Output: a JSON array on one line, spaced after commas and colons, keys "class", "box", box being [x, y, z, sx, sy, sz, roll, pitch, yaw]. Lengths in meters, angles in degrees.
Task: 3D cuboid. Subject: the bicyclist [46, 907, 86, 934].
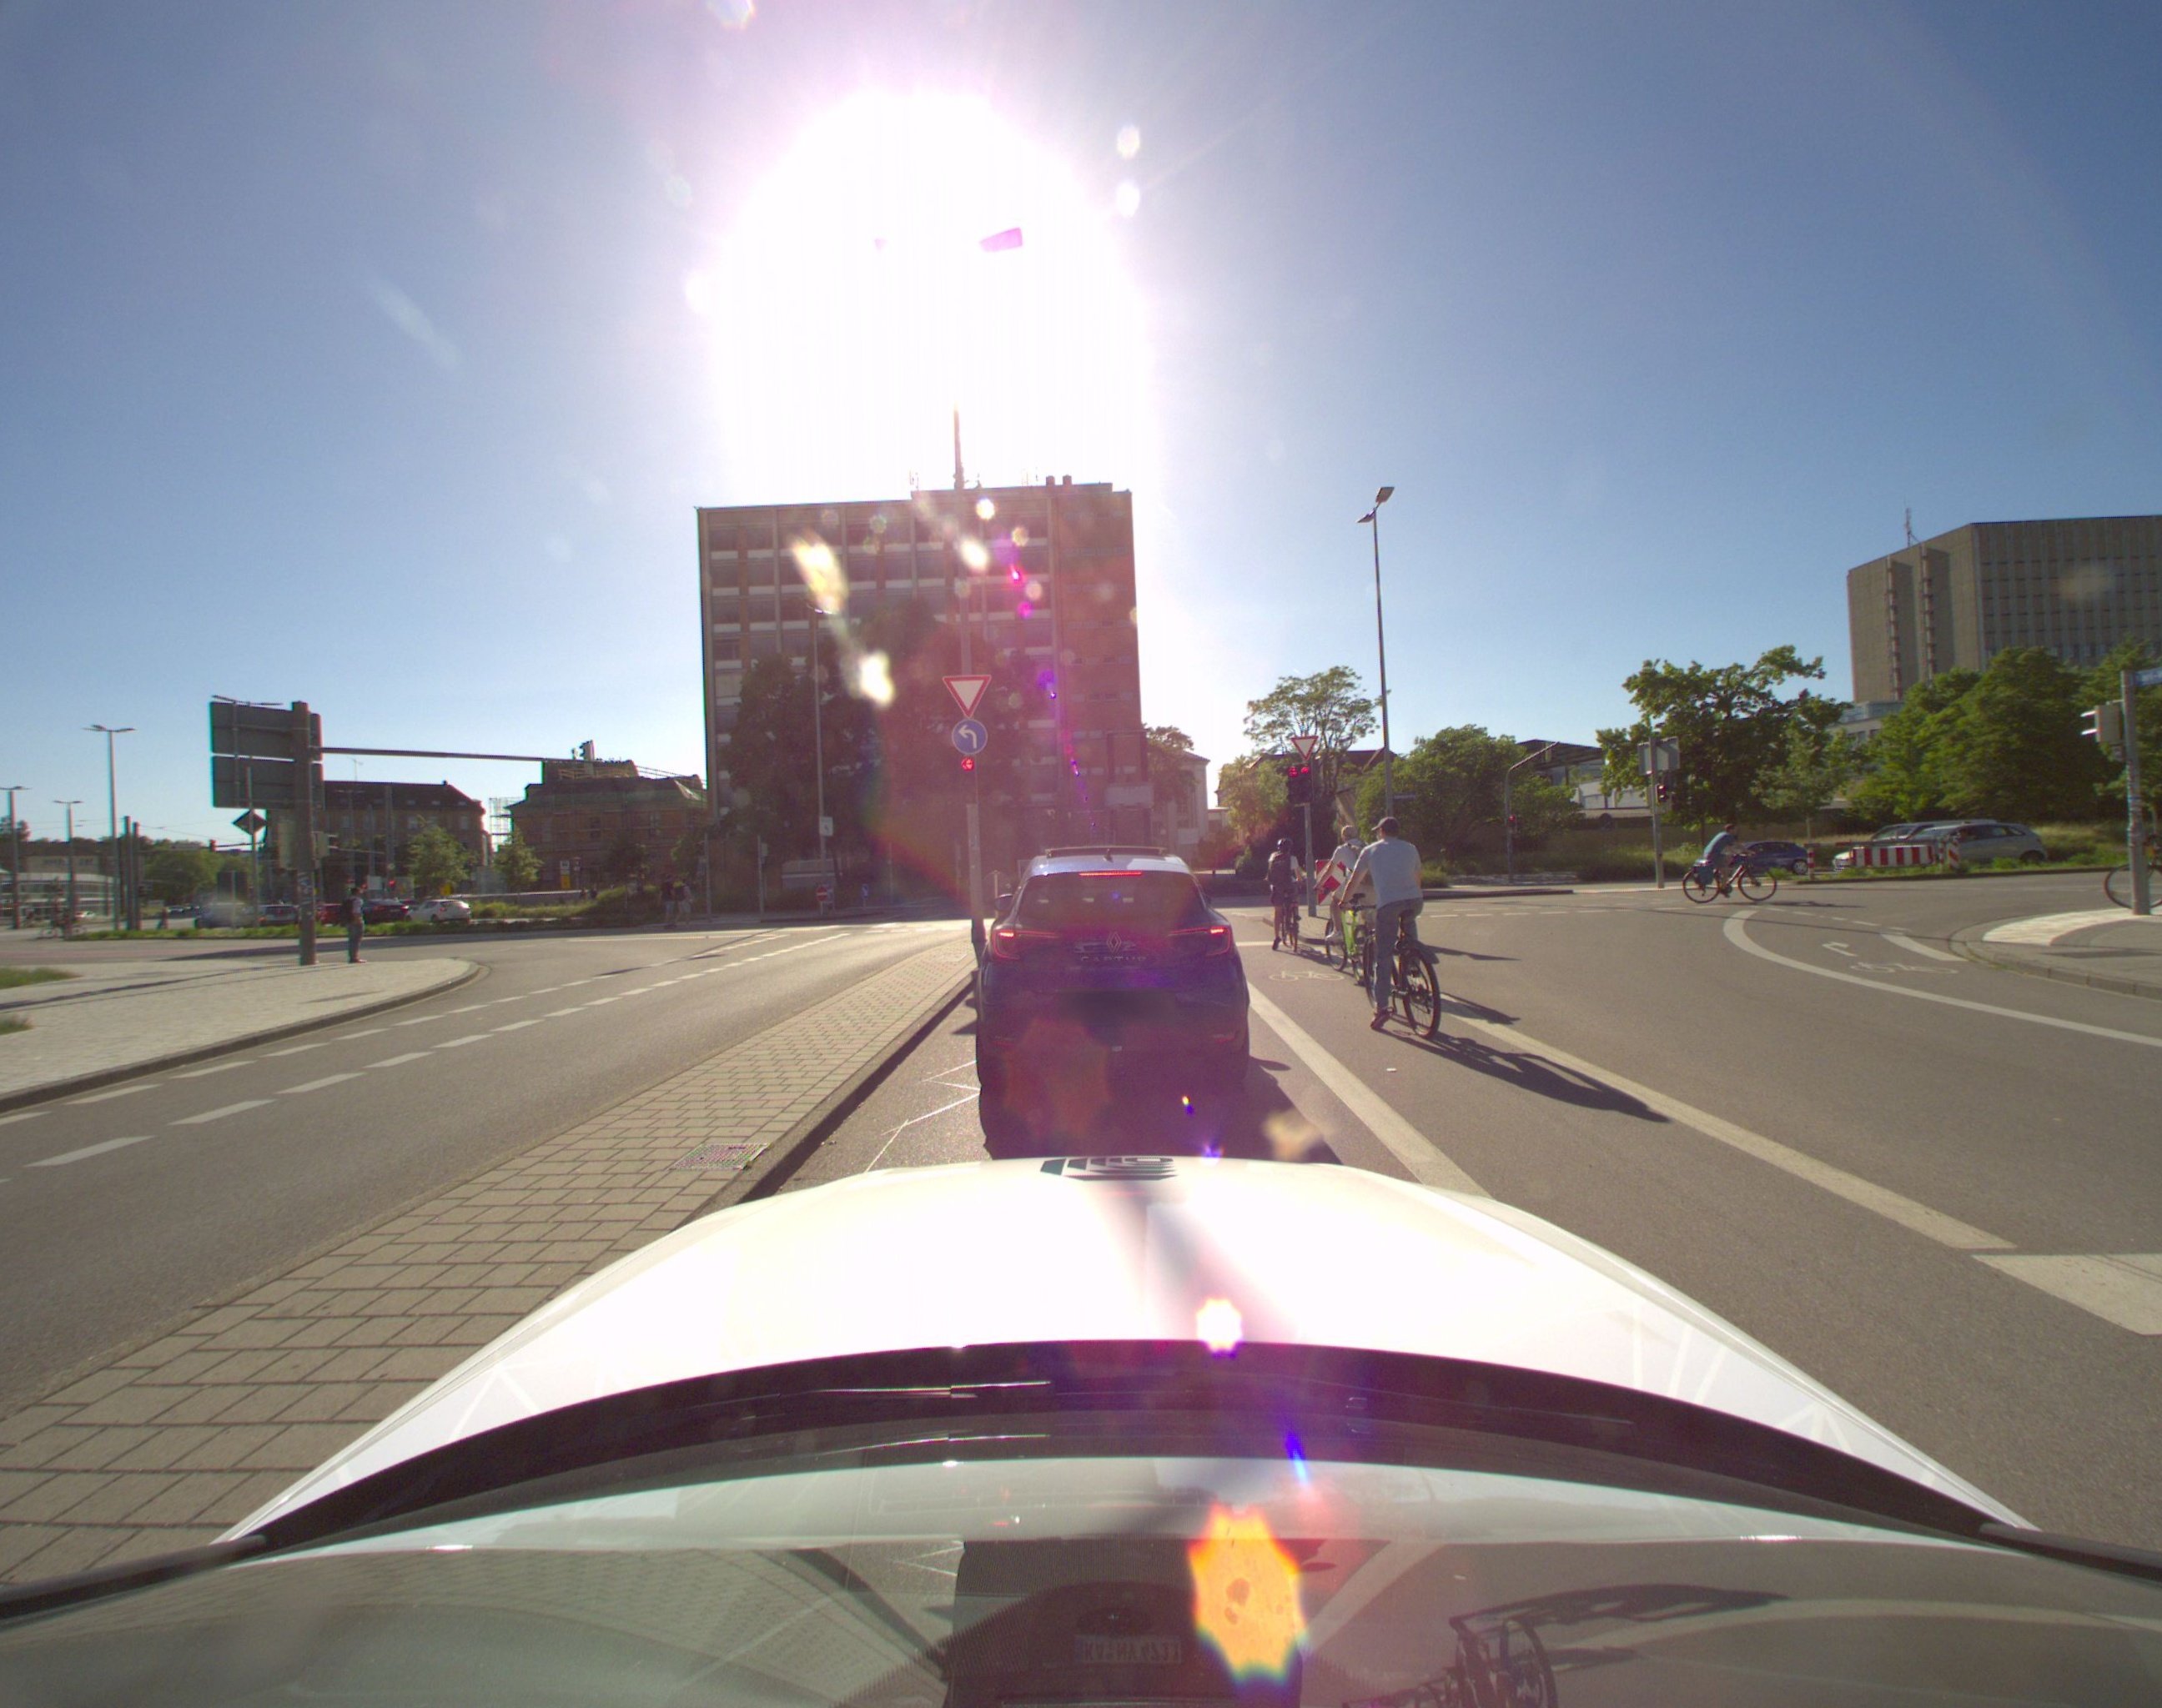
[{"class": "bicyclist", "box": [-65.662, 4.302, 52.683, 0.800, 1.634, 1.586, -1, -1, 38]}]

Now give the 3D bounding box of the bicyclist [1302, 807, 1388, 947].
[{"class": "bicyclist", "box": [3.172, 0.266, 9.880, 0.676, 1.594, 1.142, -1, -1, 2]}]

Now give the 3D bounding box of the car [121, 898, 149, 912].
[{"class": "car", "box": [-153.040, 8.293, 131.768, 2.008, 2.014, 3.956, 0, -1, -35]}]

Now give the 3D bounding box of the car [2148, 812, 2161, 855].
[{"class": "car", "box": [36.893, -0.763, 25.335, 4.534, 1.398, 1.798, -3, -1, 7]}]

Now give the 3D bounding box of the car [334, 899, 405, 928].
[{"class": "car", "box": [-42.571, 3.564, 48.718, 3.834, 1.508, 1.805, -3, -1, 25]}]

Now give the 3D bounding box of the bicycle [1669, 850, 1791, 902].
[{"class": "bicycle", "box": [13.530, 0.455, 17.020, 1.887, 0.973, 0.651, -4, -1, 9]}]

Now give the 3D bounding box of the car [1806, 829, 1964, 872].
[{"class": "car", "box": [30.288, -0.136, 30.797, 3.965, 1.398, 1.798, -3, -1, 7]}]

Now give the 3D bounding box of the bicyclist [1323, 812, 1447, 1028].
[{"class": "bicyclist", "box": [2.709, 0.554, 7.366, 0.680, 1.791, 1.142, -1, -1, 2]}]

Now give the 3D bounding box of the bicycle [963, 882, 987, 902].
[{"class": "bicycle", "box": [-5.736, 2.044, 44.174, 0.751, 0.985, 2.098, -2, 0, 8]}]

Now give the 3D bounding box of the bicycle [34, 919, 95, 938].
[{"class": "bicycle", "box": [-65.667, 4.802, 52.651, 0.800, 1.062, 2.434, -1, -1, 39]}]

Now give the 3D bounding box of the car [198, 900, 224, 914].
[{"class": "car", "box": [-142.290, 8.620, 133.230, 1.797, 2.013, 3.963, -2, -1, -29]}]

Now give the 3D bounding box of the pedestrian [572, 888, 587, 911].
[{"class": "pedestrian", "box": [-39.236, 3.558, 63.696, 0.678, 1.730, 0.761, -2, -1, -1]}]

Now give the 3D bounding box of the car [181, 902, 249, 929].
[{"class": "car", "box": [-54.922, 3.892, 51.638, 3.834, 1.508, 1.805, -3, -1, 25]}]

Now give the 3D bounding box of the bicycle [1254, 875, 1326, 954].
[{"class": "bicycle", "box": [3.253, 0.910, 12.846, 0.687, 1.089, 1.923, -1, 0, 2]}]

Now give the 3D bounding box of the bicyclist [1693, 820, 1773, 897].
[{"class": "bicyclist", "box": [13.608, 0.101, 17.011, 1.045, 1.513, 0.643, -4, -1, 9]}]

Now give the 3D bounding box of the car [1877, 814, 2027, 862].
[{"class": "car", "box": [35.862, -0.618, 33.611, 3.965, 1.749, 1.798, -3, -1, 7]}]

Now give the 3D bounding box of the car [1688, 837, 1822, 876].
[{"class": "car", "box": [28.127, 0.106, 34.110, 3.965, 1.398, 1.798, -3, -1, 7]}]

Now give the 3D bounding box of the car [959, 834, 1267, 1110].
[{"class": "car", "box": [0.190, 0.705, 6.769, 1.783, 1.585, 3.913, -1, 0, 0]}]

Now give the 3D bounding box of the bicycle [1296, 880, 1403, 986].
[{"class": "bicycle", "box": [3.183, 0.890, 9.855, 0.687, 1.089, 1.923, -1, 0, 2]}]

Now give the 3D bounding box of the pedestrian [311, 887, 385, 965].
[{"class": "pedestrian", "box": [-17.237, 1.672, 19.163, 0.647, 1.730, 1.066, -3, -1, 15]}]

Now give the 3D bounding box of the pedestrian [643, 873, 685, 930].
[{"class": "pedestrian", "box": [-14.221, 1.616, 27.820, 0.807, 1.862, 0.913, -3, -1, 15]}]

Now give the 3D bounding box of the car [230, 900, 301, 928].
[{"class": "car", "box": [-48.873, 3.604, 48.806, 3.834, 1.508, 1.805, -3, -1, 25]}]

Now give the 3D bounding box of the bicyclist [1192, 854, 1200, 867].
[{"class": "bicyclist", "box": [12.837, 0.742, 90.681, 0.692, 1.481, 0.717, -2, -1, 0]}]

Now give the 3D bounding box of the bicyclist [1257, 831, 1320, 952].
[{"class": "bicyclist", "box": [3.222, 0.559, 12.737, 0.697, 1.791, 1.142, -1, -1, 2]}]

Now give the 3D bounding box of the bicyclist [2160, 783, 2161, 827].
[{"class": "bicyclist", "box": [16.019, -0.225, 11.476, 0.635, 1.646, 0.903, -2, -1, -39]}]

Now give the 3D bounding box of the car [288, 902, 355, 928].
[{"class": "car", "box": [-48.216, 3.870, 51.711, 3.834, 1.508, 1.805, -3, -1, 25]}]

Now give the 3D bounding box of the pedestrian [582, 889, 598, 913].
[{"class": "pedestrian", "box": [-36.094, 3.436, 59.896, 0.680, 1.730, 0.759, -2, -1, -7]}]

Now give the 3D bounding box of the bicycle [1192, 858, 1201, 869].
[{"class": "bicycle", "box": [12.856, 1.081, 90.861, 0.692, 1.140, 2.441, -2, 0, 1]}]

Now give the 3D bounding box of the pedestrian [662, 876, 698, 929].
[{"class": "pedestrian", "box": [-13.471, 1.620, 27.379, 0.675, 1.730, 0.764, -3, -1, 15]}]

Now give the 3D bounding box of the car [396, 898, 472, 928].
[{"class": "car", "box": [-36.403, 3.336, 45.837, 3.834, 1.508, 1.805, -3, -1, 25]}]

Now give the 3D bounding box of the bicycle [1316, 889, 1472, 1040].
[{"class": "bicycle", "box": [2.707, 0.899, 7.287, 0.687, 1.089, 1.923, -1, 0, 2]}]

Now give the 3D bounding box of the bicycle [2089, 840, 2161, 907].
[{"class": "bicycle", "box": [15.907, 0.268, 11.630, 0.640, 0.958, 1.866, -2, -1, -39]}]

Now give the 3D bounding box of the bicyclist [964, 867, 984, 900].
[{"class": "bicyclist", "box": [-5.769, 1.609, 44.074, 0.751, 1.716, 1.001, -2, -1, 7]}]

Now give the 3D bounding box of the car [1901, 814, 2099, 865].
[{"class": "car", "box": [29.212, -0.434, 26.005, 3.965, 1.398, 1.798, -3, -1, 7]}]
